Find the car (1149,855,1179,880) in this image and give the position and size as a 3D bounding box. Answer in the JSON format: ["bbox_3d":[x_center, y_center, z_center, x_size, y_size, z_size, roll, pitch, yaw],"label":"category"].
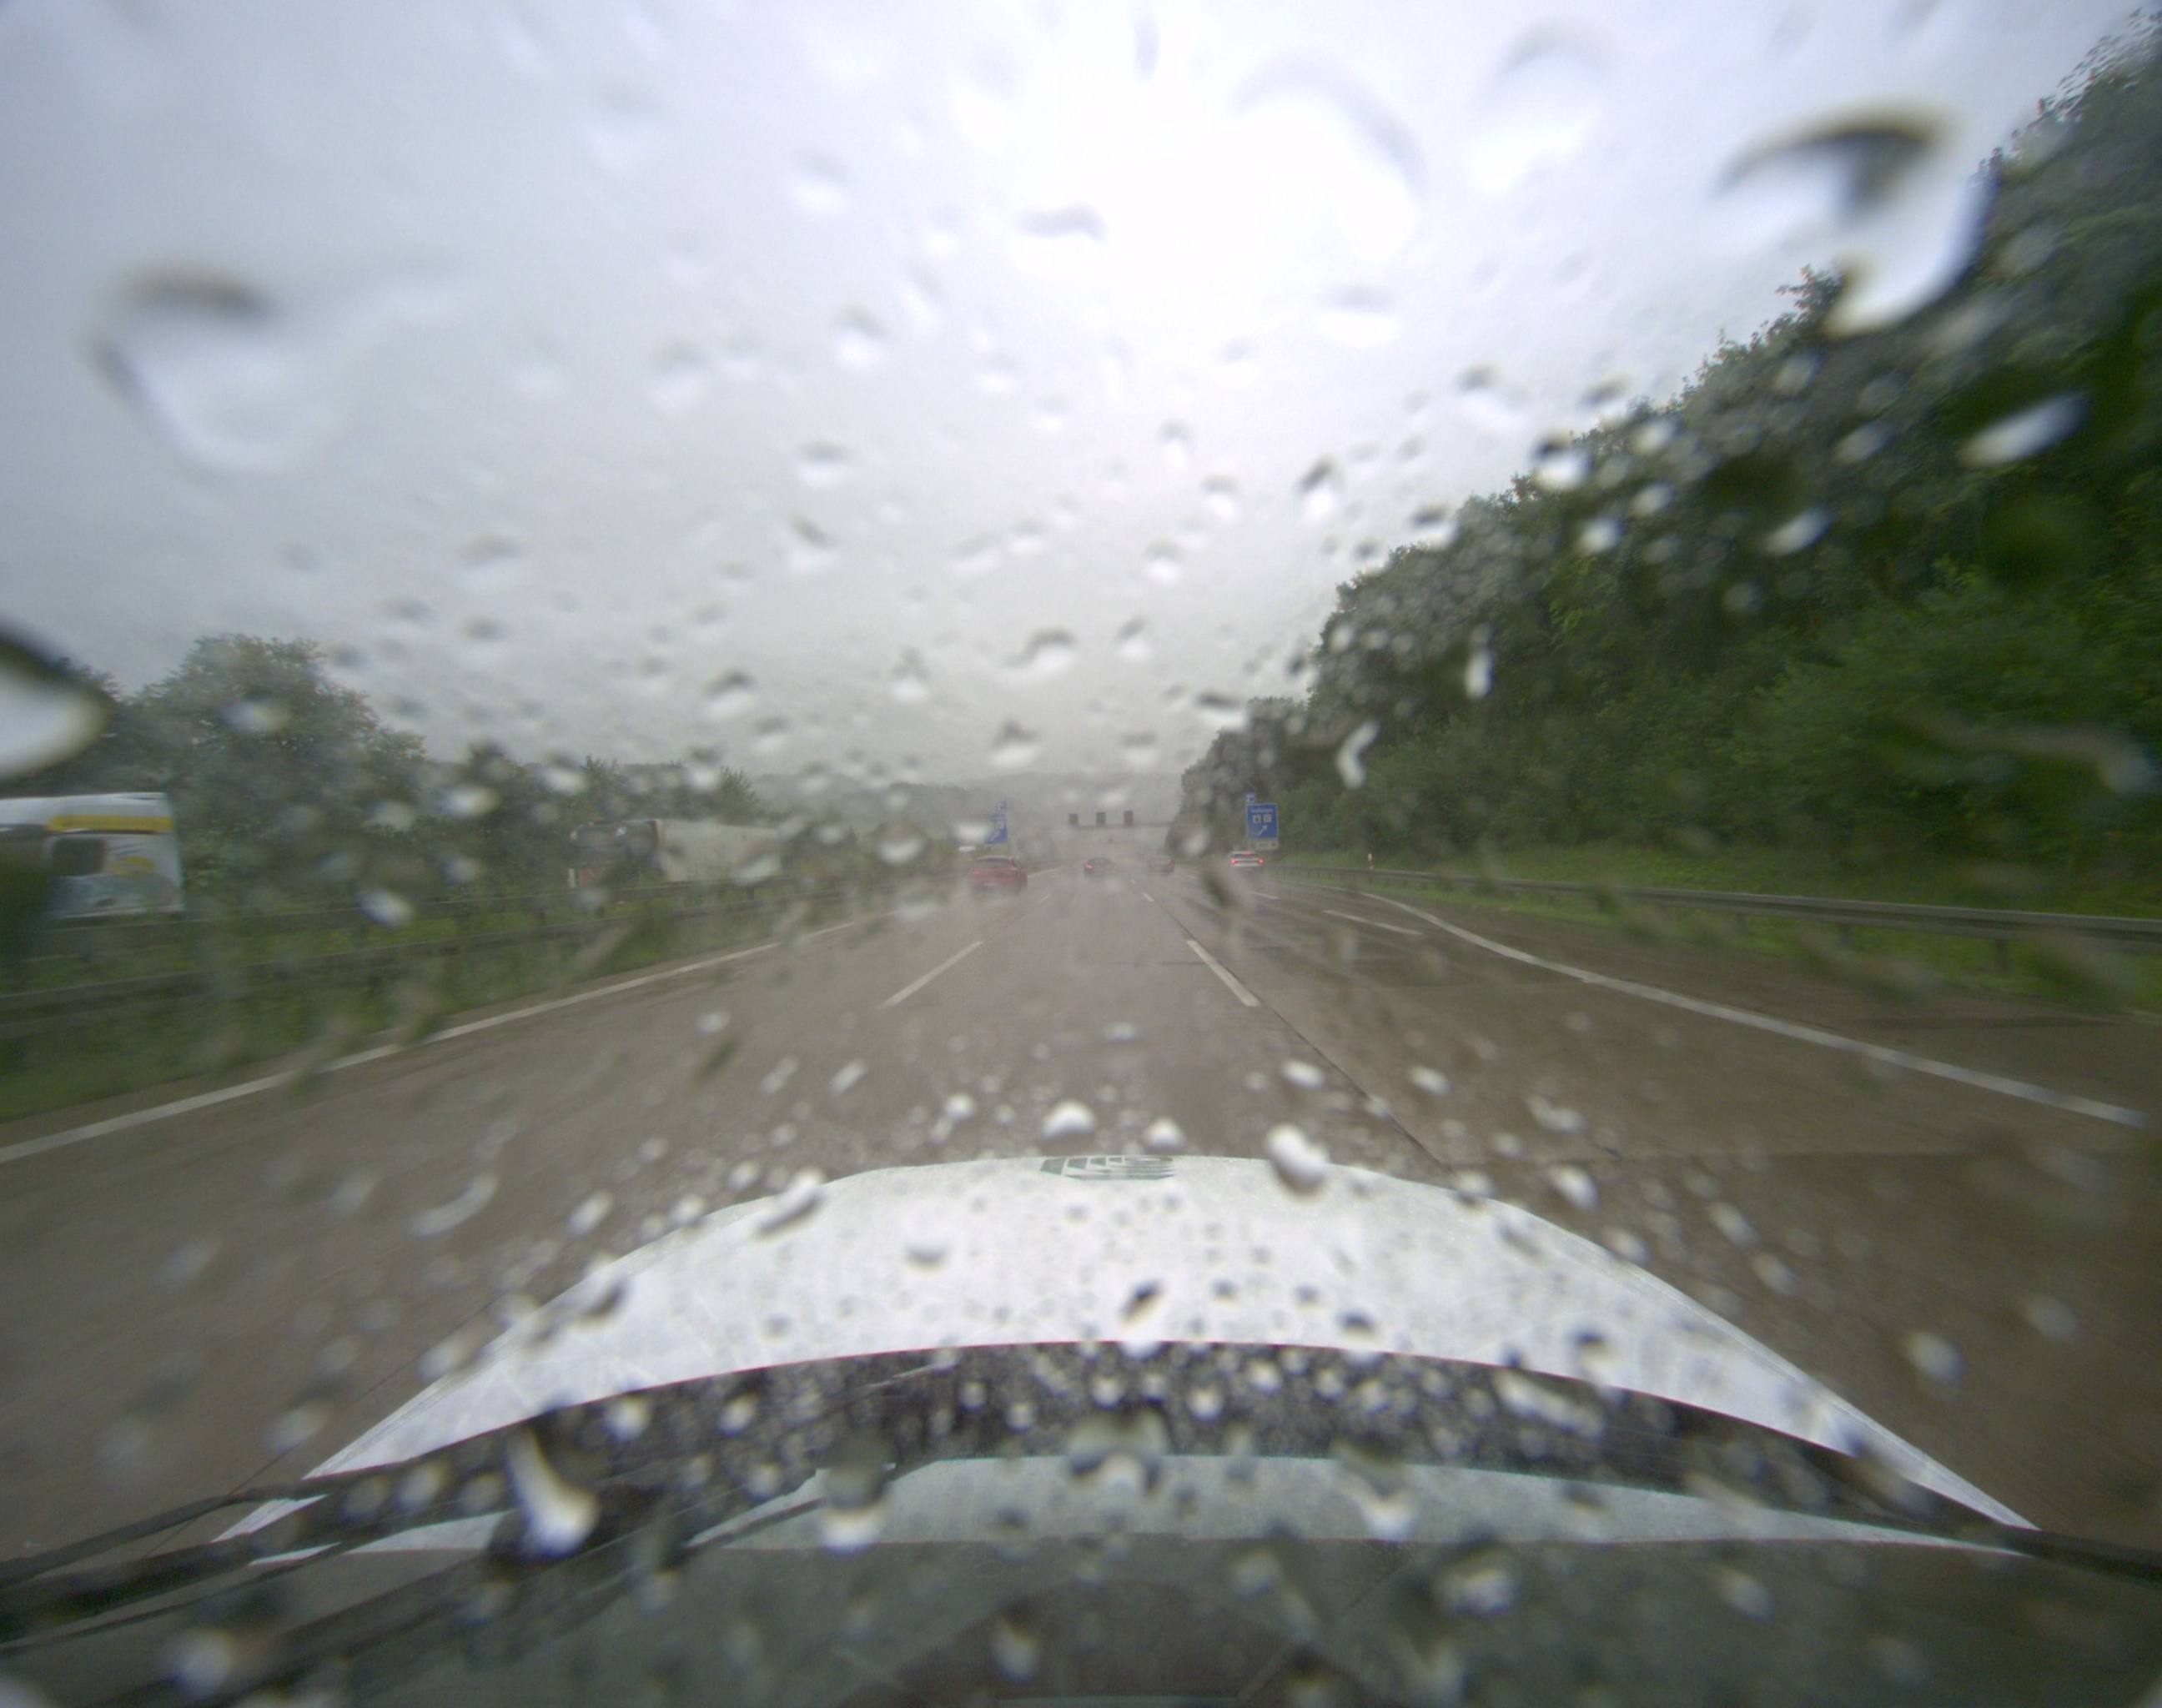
[{"bbox_3d":[6.182,0.989,61.035,1.964,1.760,4.002,-1,0,2],"label":"car"}]

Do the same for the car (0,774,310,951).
[{"bbox_3d":[-21.190,0.187,16.956,2.788,3.243,7.604,-1,0,2],"label":"car"}]

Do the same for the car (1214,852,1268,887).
[{"bbox_3d":[8.467,0.807,43.614,1.986,1.750,5.665,-1,0,2],"label":"car"}]

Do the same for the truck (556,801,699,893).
[{"bbox_3d":[-19.002,-0.272,34.556,2.806,3.509,5.729,-1,0,-1],"label":"truck"}]

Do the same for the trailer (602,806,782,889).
[{"bbox_3d":[-19.099,-0.234,41.570,2.844,3.542,13.701,-1,0,-1],"label":"trailer"}]

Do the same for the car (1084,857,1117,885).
[{"bbox_3d":[1.197,1.000,48.787,1.852,1.589,4.002,-1,0,2],"label":"car"}]

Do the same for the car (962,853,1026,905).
[{"bbox_3d":[-3.202,0.878,30.823,1.878,1.816,4.000,-1,0,1],"label":"car"}]
